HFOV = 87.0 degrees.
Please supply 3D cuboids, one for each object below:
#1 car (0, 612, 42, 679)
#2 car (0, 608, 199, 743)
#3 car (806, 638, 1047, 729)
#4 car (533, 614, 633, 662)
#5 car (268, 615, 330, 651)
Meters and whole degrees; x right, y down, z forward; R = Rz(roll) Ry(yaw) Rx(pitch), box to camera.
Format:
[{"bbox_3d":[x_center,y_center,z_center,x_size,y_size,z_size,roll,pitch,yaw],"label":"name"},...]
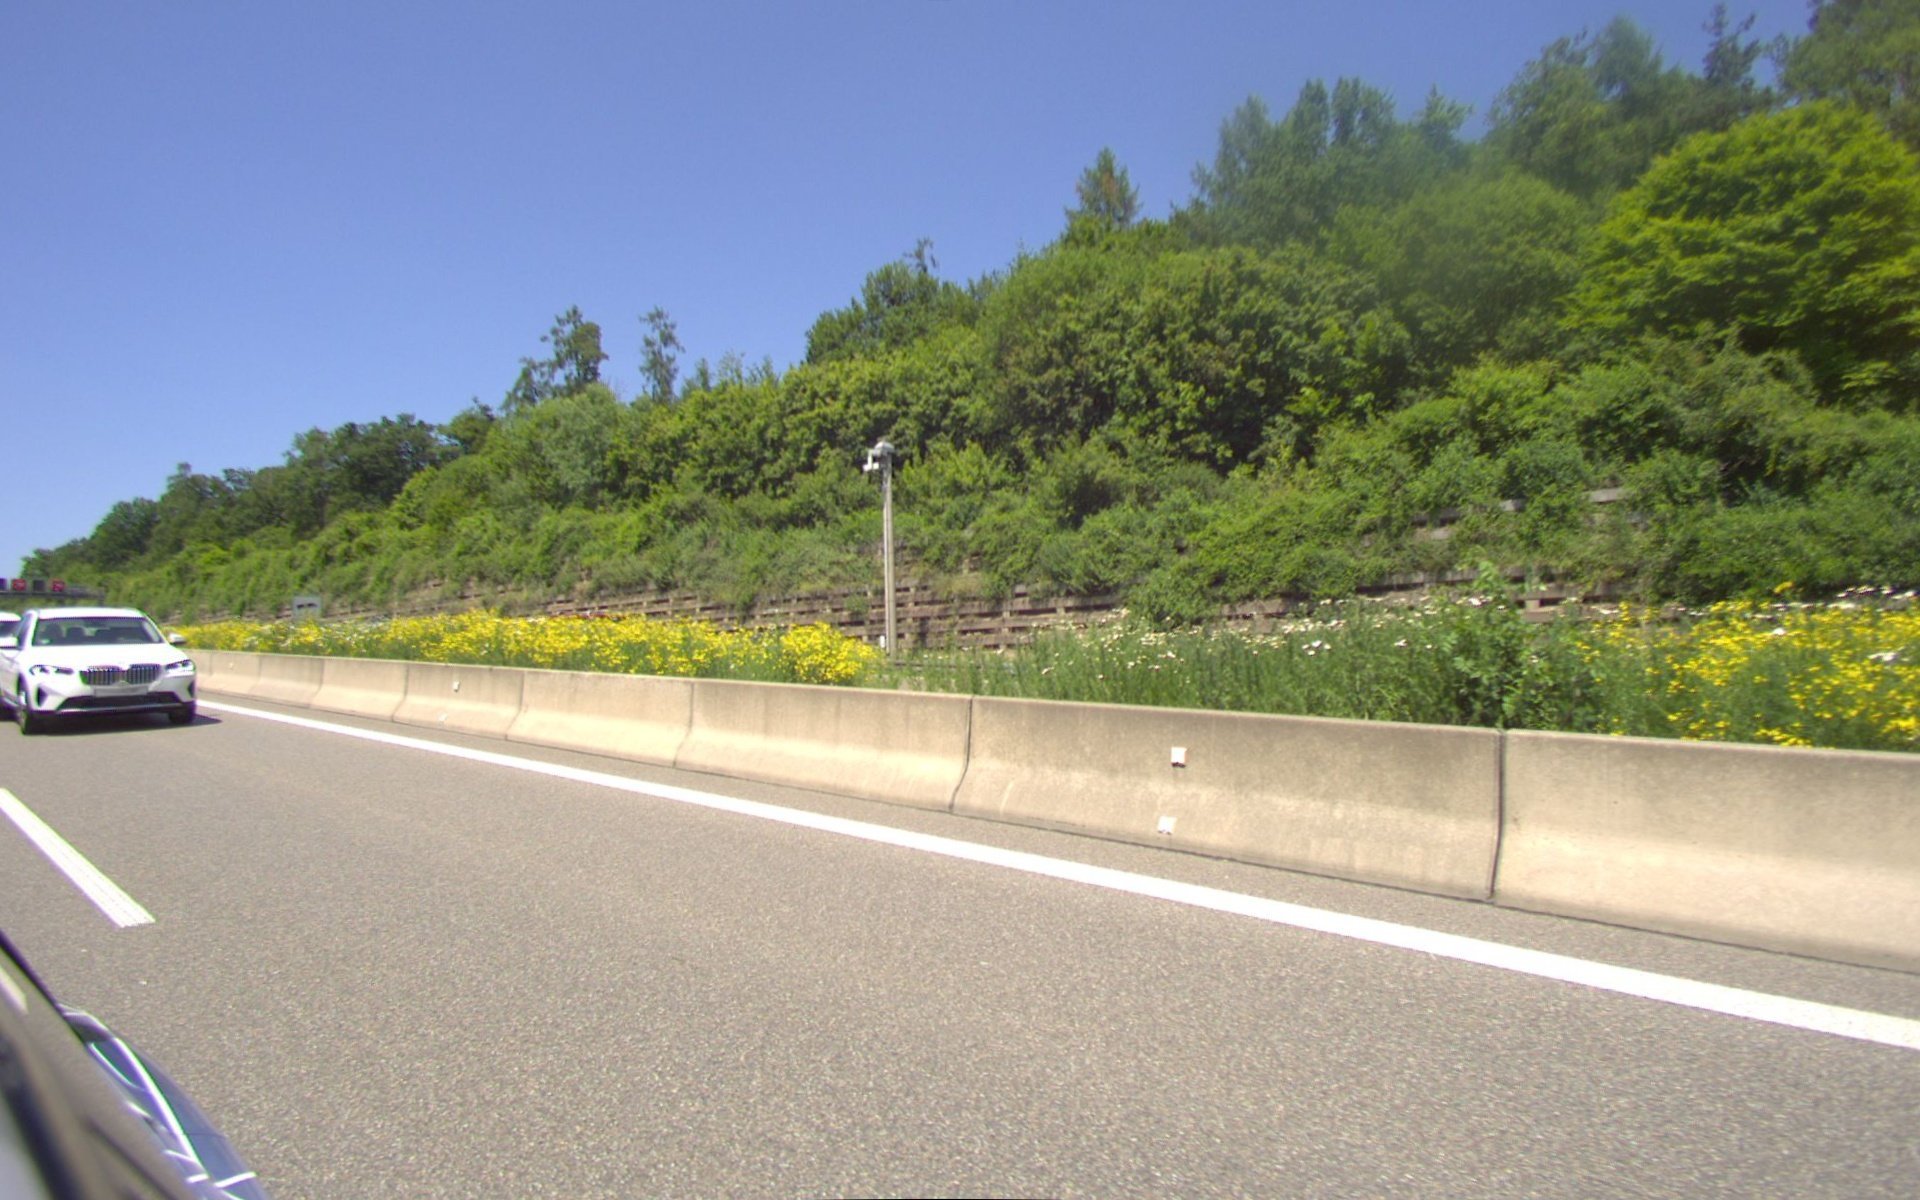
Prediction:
[{"bbox_3d":[-27.579,1.317,28.615,4.500,1.788,1.972,-3,-1,42],"label":"car"},{"bbox_3d":[-12.748,0.987,14.696,4.365,1.656,1.826,-1,-1,41],"label":"car"},{"bbox_3d":[-0.726,1.488,19.204,4.582,1.533,1.770,-2,-3,40],"label":"car"},{"bbox_3d":[-15.655,1.528,41.925,4.653,1.821,1.972,-1,1,42],"label":"car"},{"bbox_3d":[-36.620,1.782,56.000,4.500,1.821,1.791,-1,1,42],"label":"car"}]
